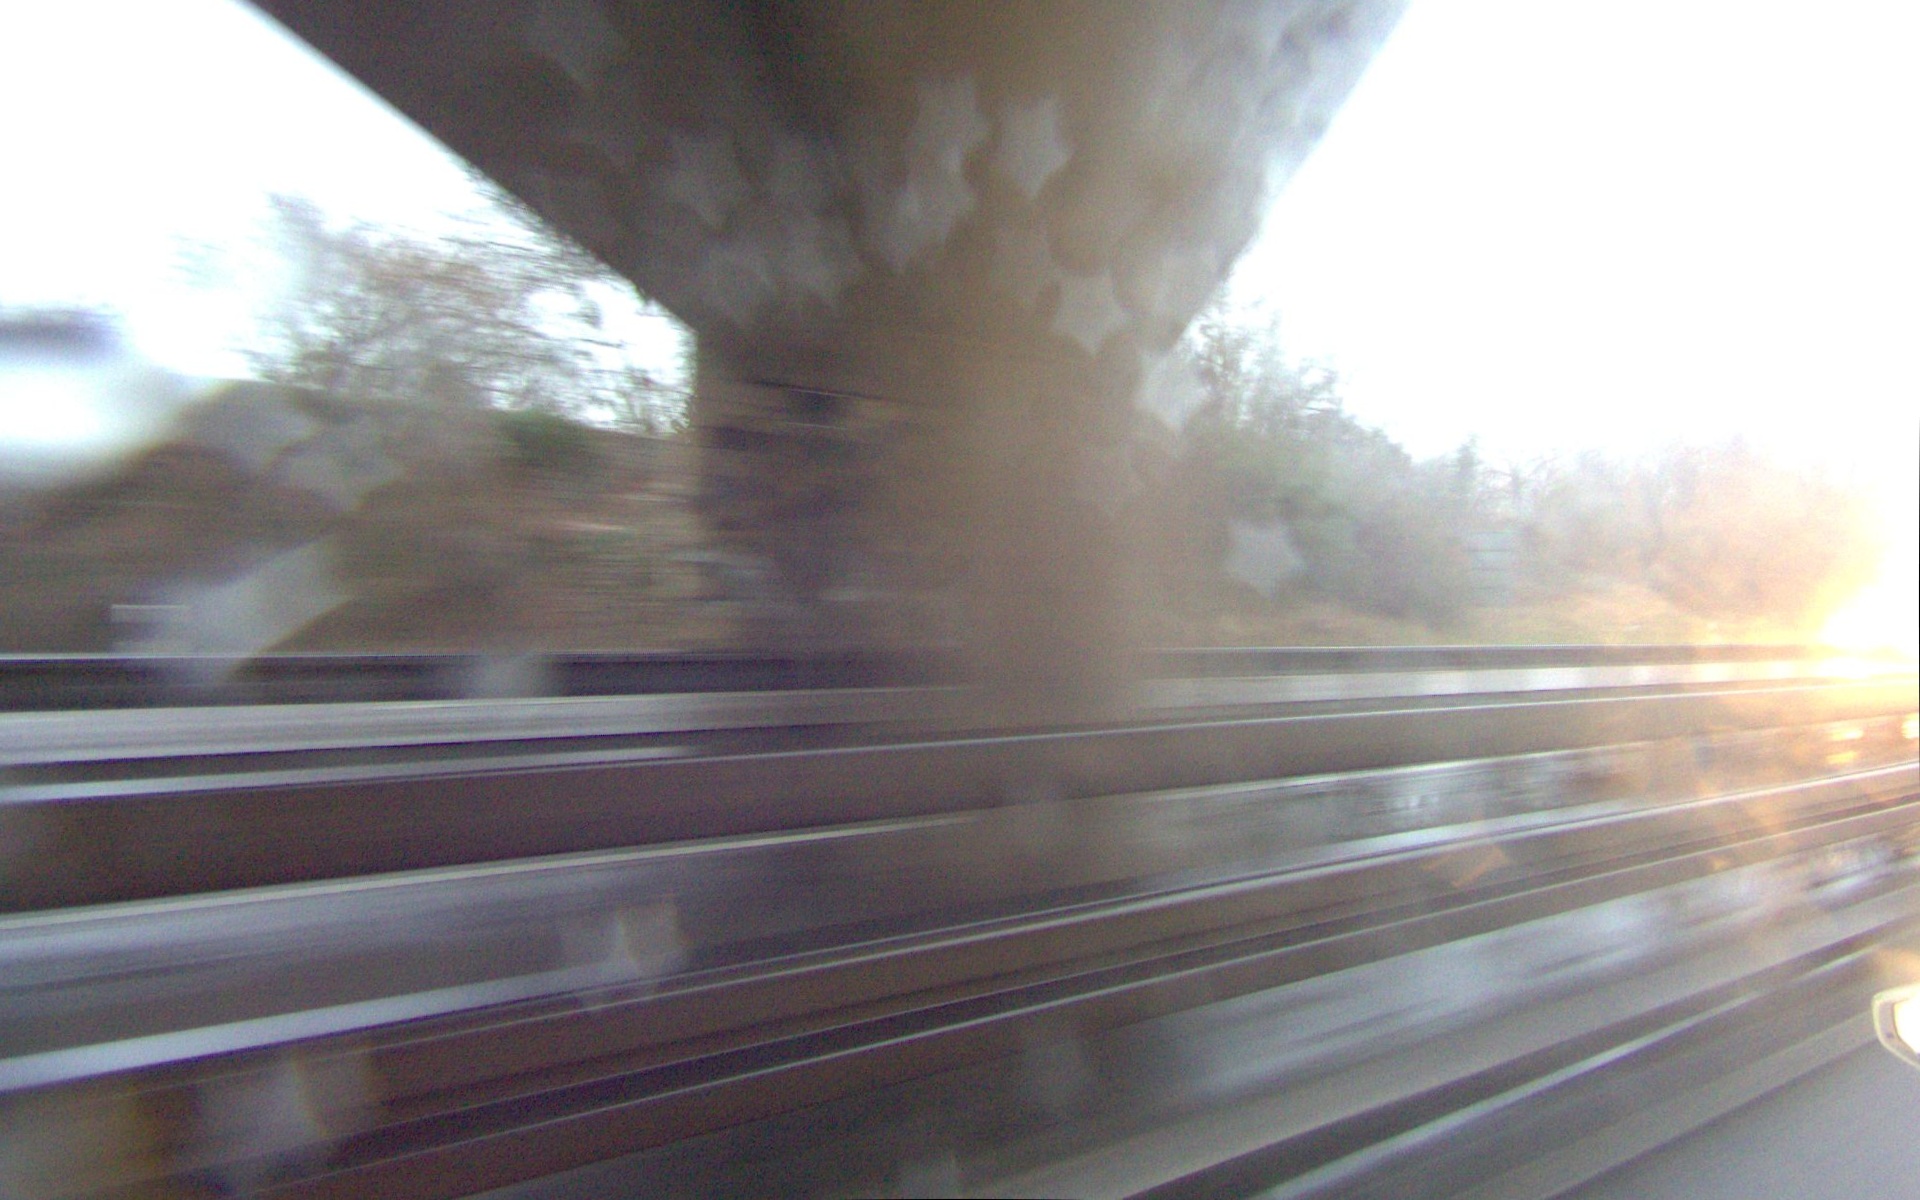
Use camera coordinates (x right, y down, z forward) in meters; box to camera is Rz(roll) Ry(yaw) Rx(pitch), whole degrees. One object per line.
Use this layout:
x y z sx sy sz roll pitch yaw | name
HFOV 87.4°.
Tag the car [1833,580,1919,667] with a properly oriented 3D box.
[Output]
29.688 0.770 31.456 5.087 2.501 2.132 2 1 -33 | car
